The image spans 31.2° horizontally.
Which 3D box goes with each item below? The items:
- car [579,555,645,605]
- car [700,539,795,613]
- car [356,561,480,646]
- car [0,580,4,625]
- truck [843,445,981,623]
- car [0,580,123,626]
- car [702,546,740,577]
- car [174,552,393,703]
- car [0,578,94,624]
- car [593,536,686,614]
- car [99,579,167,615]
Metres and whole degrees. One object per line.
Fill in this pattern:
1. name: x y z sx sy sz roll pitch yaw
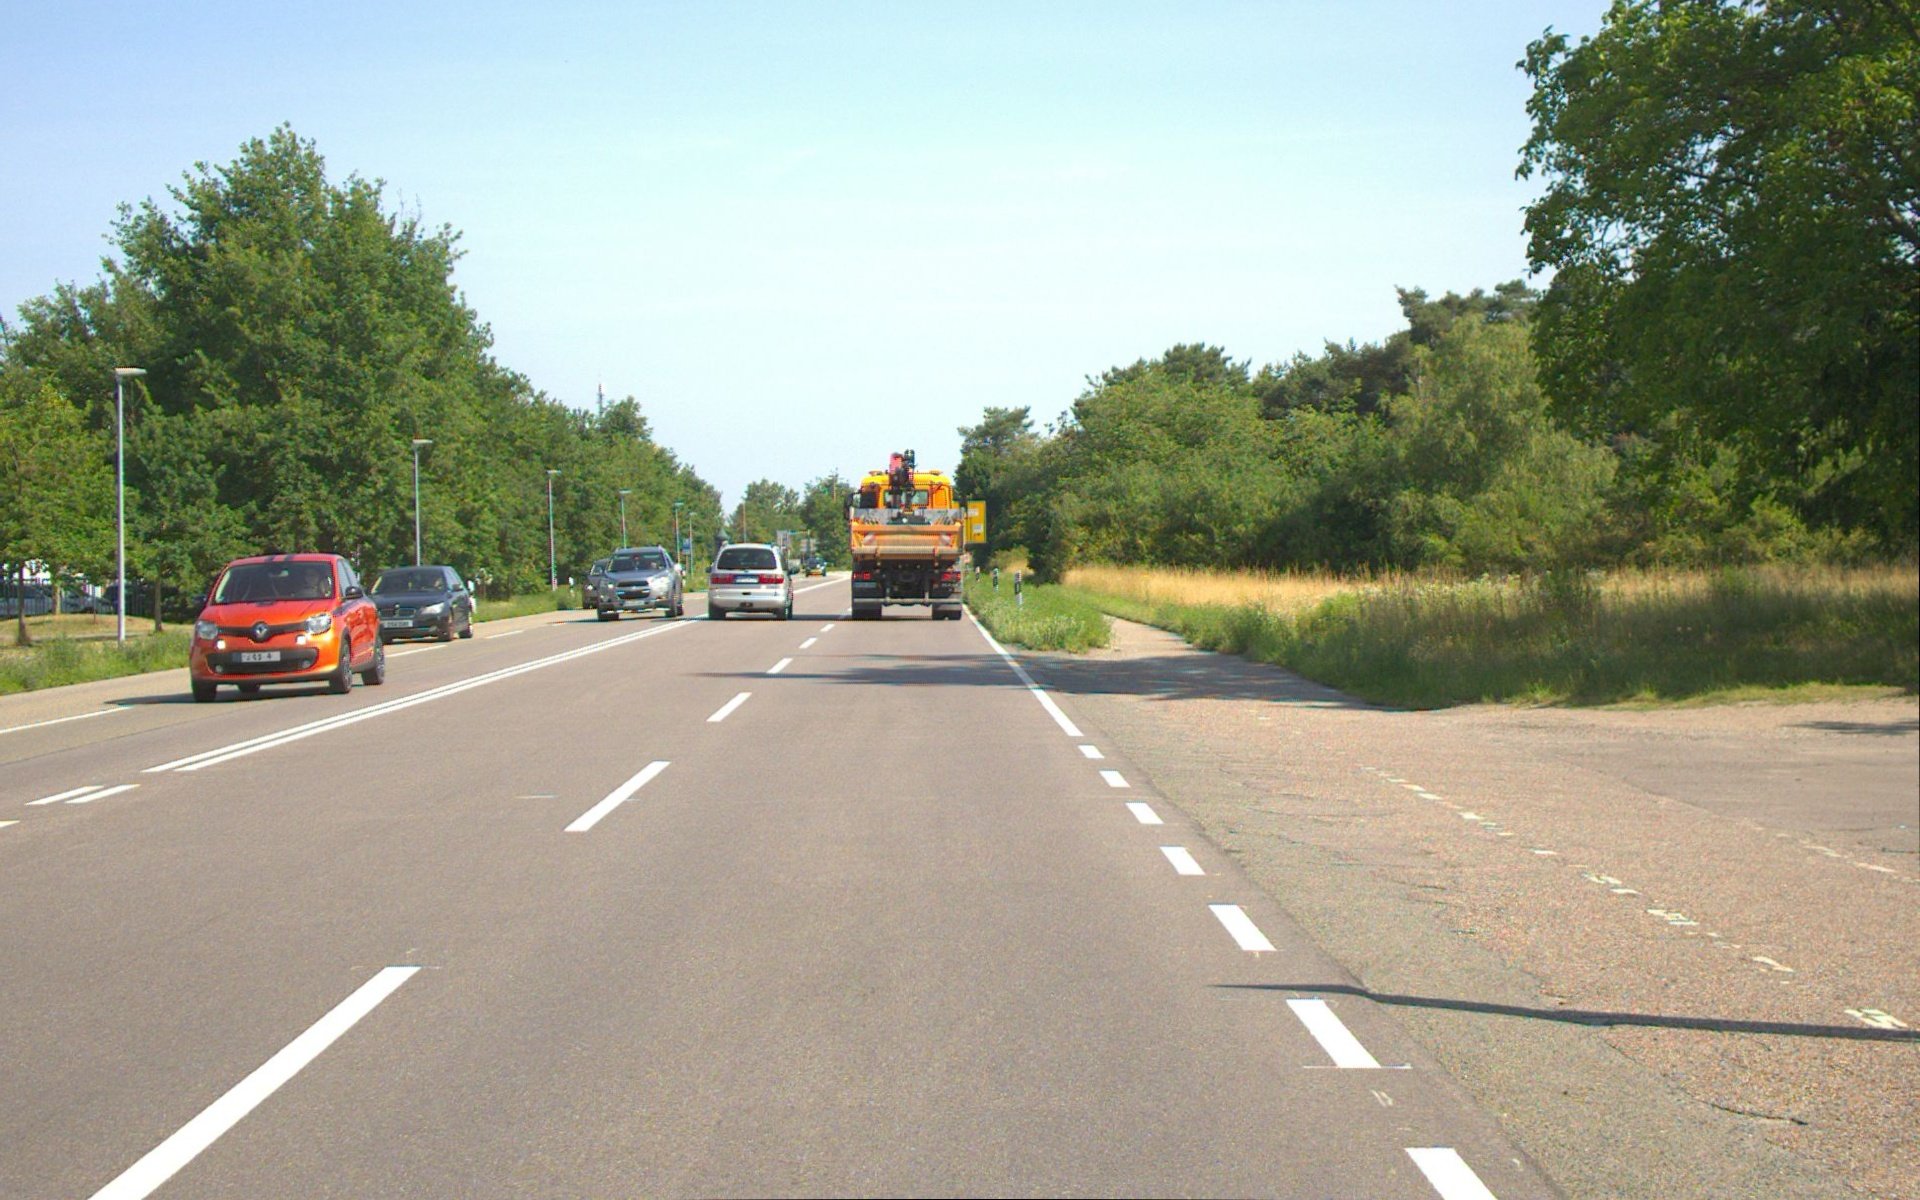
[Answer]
1. car: -11.140 -0.654 110.202 1.729 1.555 4.215 1 1 -1
2. car: -4.725 -0.551 76.862 1.993 1.578 4.000 -1 1 -2
3. car: -10.395 0.038 66.244 1.652 1.475 4.741 -3 1 -1
4. car: -33.928 0.117 115.557 1.736 1.495 3.997 -2 1 -44
5. truck: -1.179 -1.484 79.098 2.871 3.867 7.400 1 1 -3
6. car: -32.125 0.101 122.860 3.987 1.495 1.758 -2 1 -1
7. car: -11.975 -1.919 172.482 1.659 1.432 3.736 -3 1 -1
8. car: -7.448 0.260 38.189 1.650 1.492 3.844 -3 1 -1
9. car: -32.162 0.051 118.765 3.987 1.495 1.758 -2 1 -1
10. car: -7.634 -0.611 82.205 1.771 1.708 4.569 -3 1 -1
11. car: -33.373 -0.127 138.854 1.787 1.345 4.664 -2 1 -3
